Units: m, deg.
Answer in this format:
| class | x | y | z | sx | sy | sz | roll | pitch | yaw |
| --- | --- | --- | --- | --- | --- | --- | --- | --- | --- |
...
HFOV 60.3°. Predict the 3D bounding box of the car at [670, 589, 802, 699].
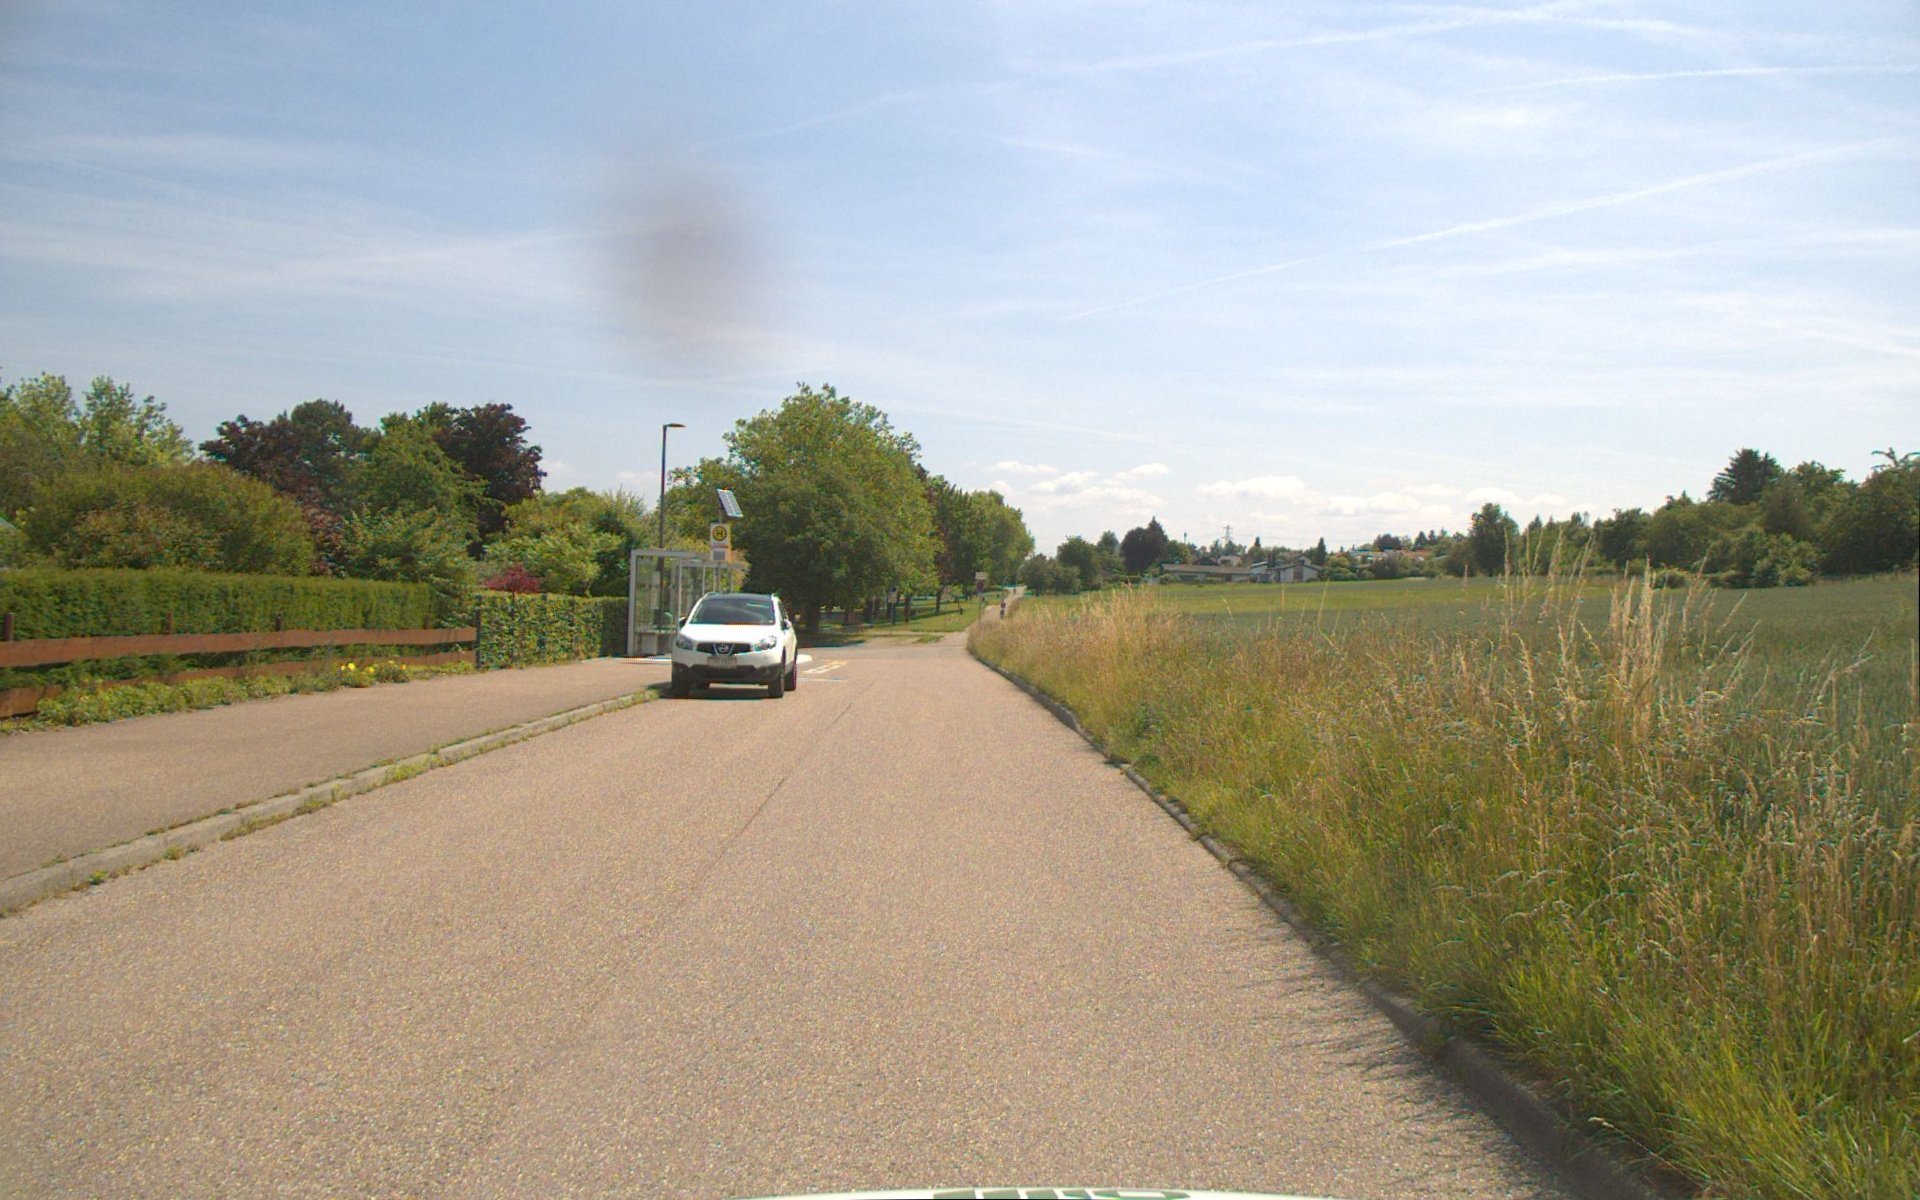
| class | x | y | z | sx | sy | sz | roll | pitch | yaw |
| --- | --- | --- | --- | --- | --- | --- | --- | --- | --- |
| car | -3.624 | 0.699 | 27.401 | 1.699 | 1.662 | 4.350 | 1 | -1 | -2 |
